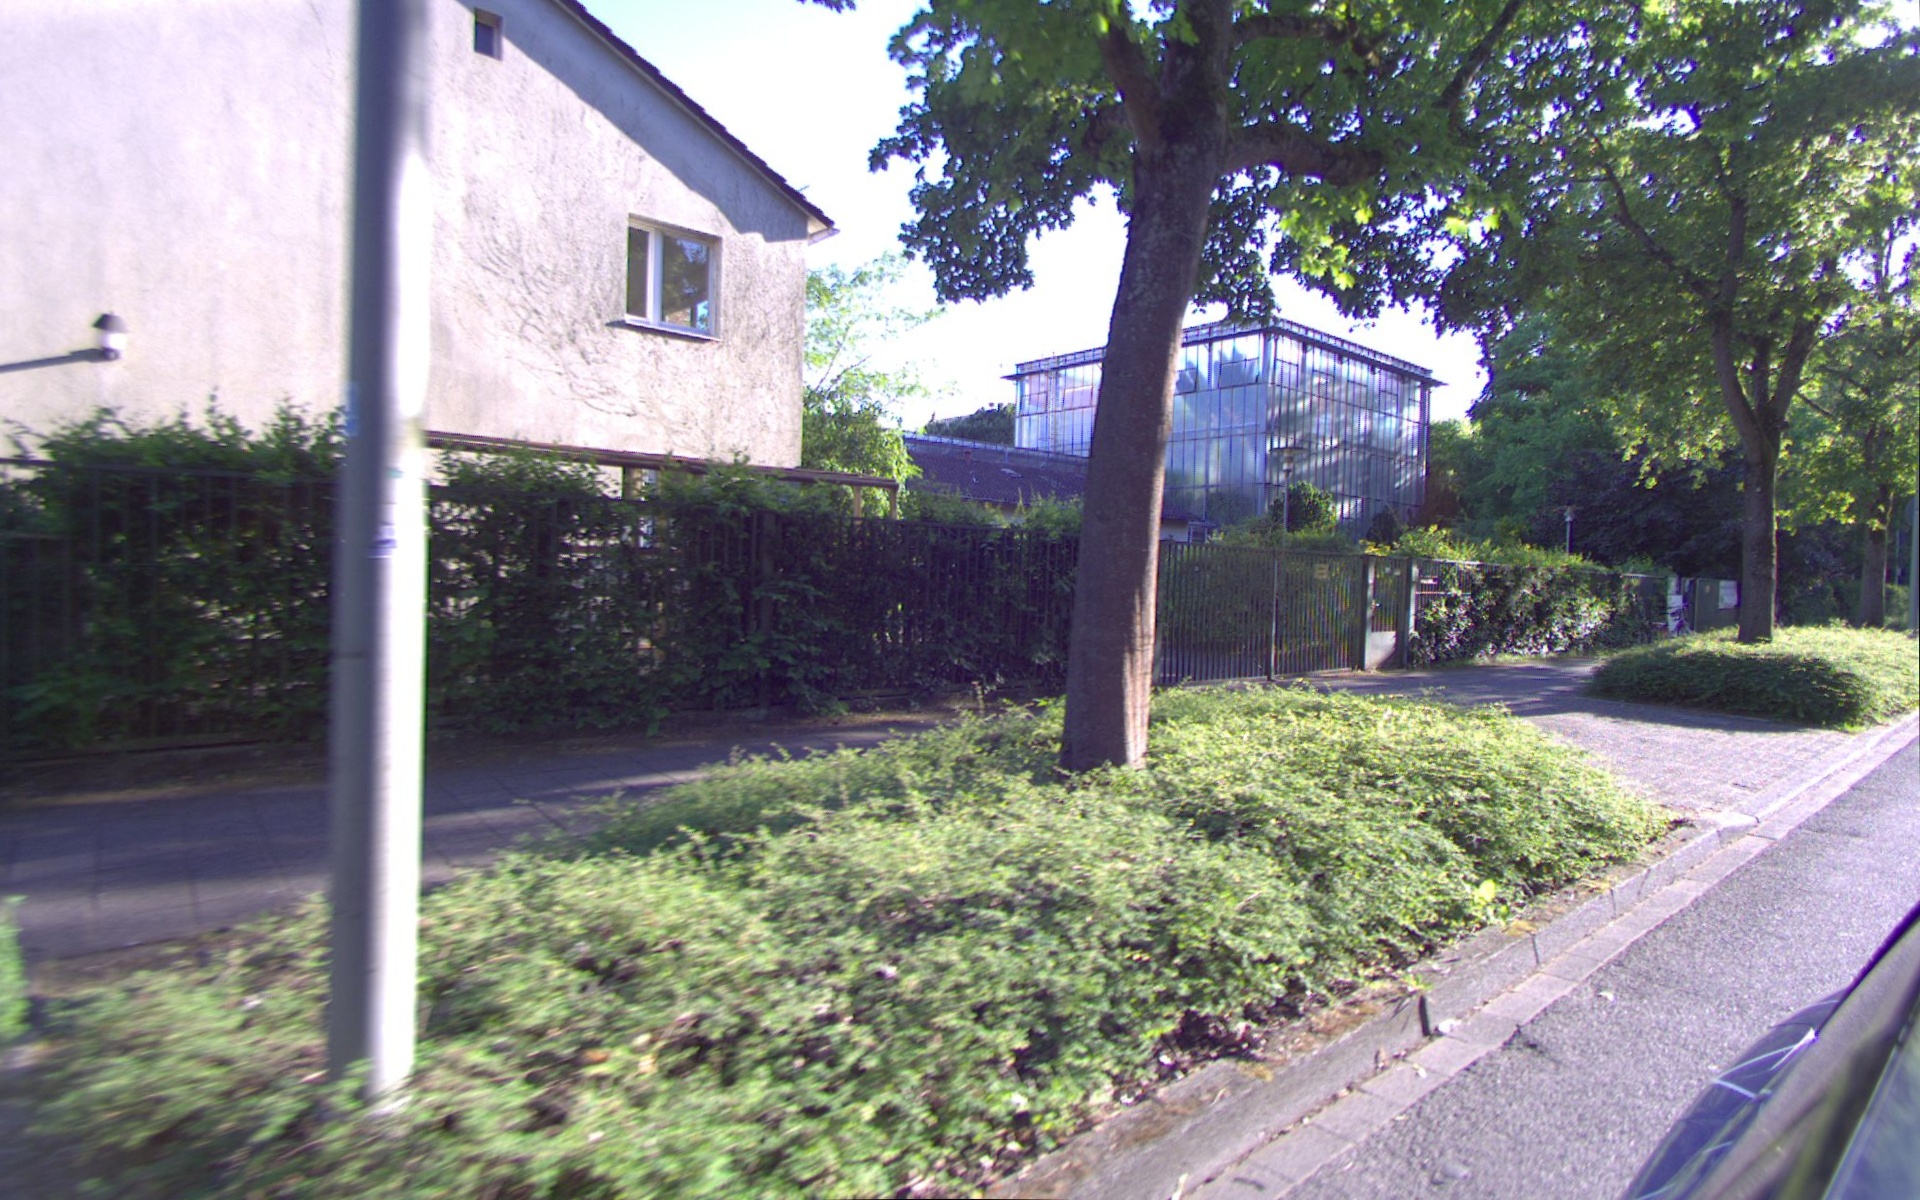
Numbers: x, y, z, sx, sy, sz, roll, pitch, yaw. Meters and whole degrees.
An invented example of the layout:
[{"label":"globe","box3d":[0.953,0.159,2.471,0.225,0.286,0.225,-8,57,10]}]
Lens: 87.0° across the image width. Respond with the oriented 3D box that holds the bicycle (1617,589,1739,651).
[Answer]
[{"label":"bicycle","box3d":[15.826,0.436,22.327,2.277,1.214,0.889,2,3,-16]}]
